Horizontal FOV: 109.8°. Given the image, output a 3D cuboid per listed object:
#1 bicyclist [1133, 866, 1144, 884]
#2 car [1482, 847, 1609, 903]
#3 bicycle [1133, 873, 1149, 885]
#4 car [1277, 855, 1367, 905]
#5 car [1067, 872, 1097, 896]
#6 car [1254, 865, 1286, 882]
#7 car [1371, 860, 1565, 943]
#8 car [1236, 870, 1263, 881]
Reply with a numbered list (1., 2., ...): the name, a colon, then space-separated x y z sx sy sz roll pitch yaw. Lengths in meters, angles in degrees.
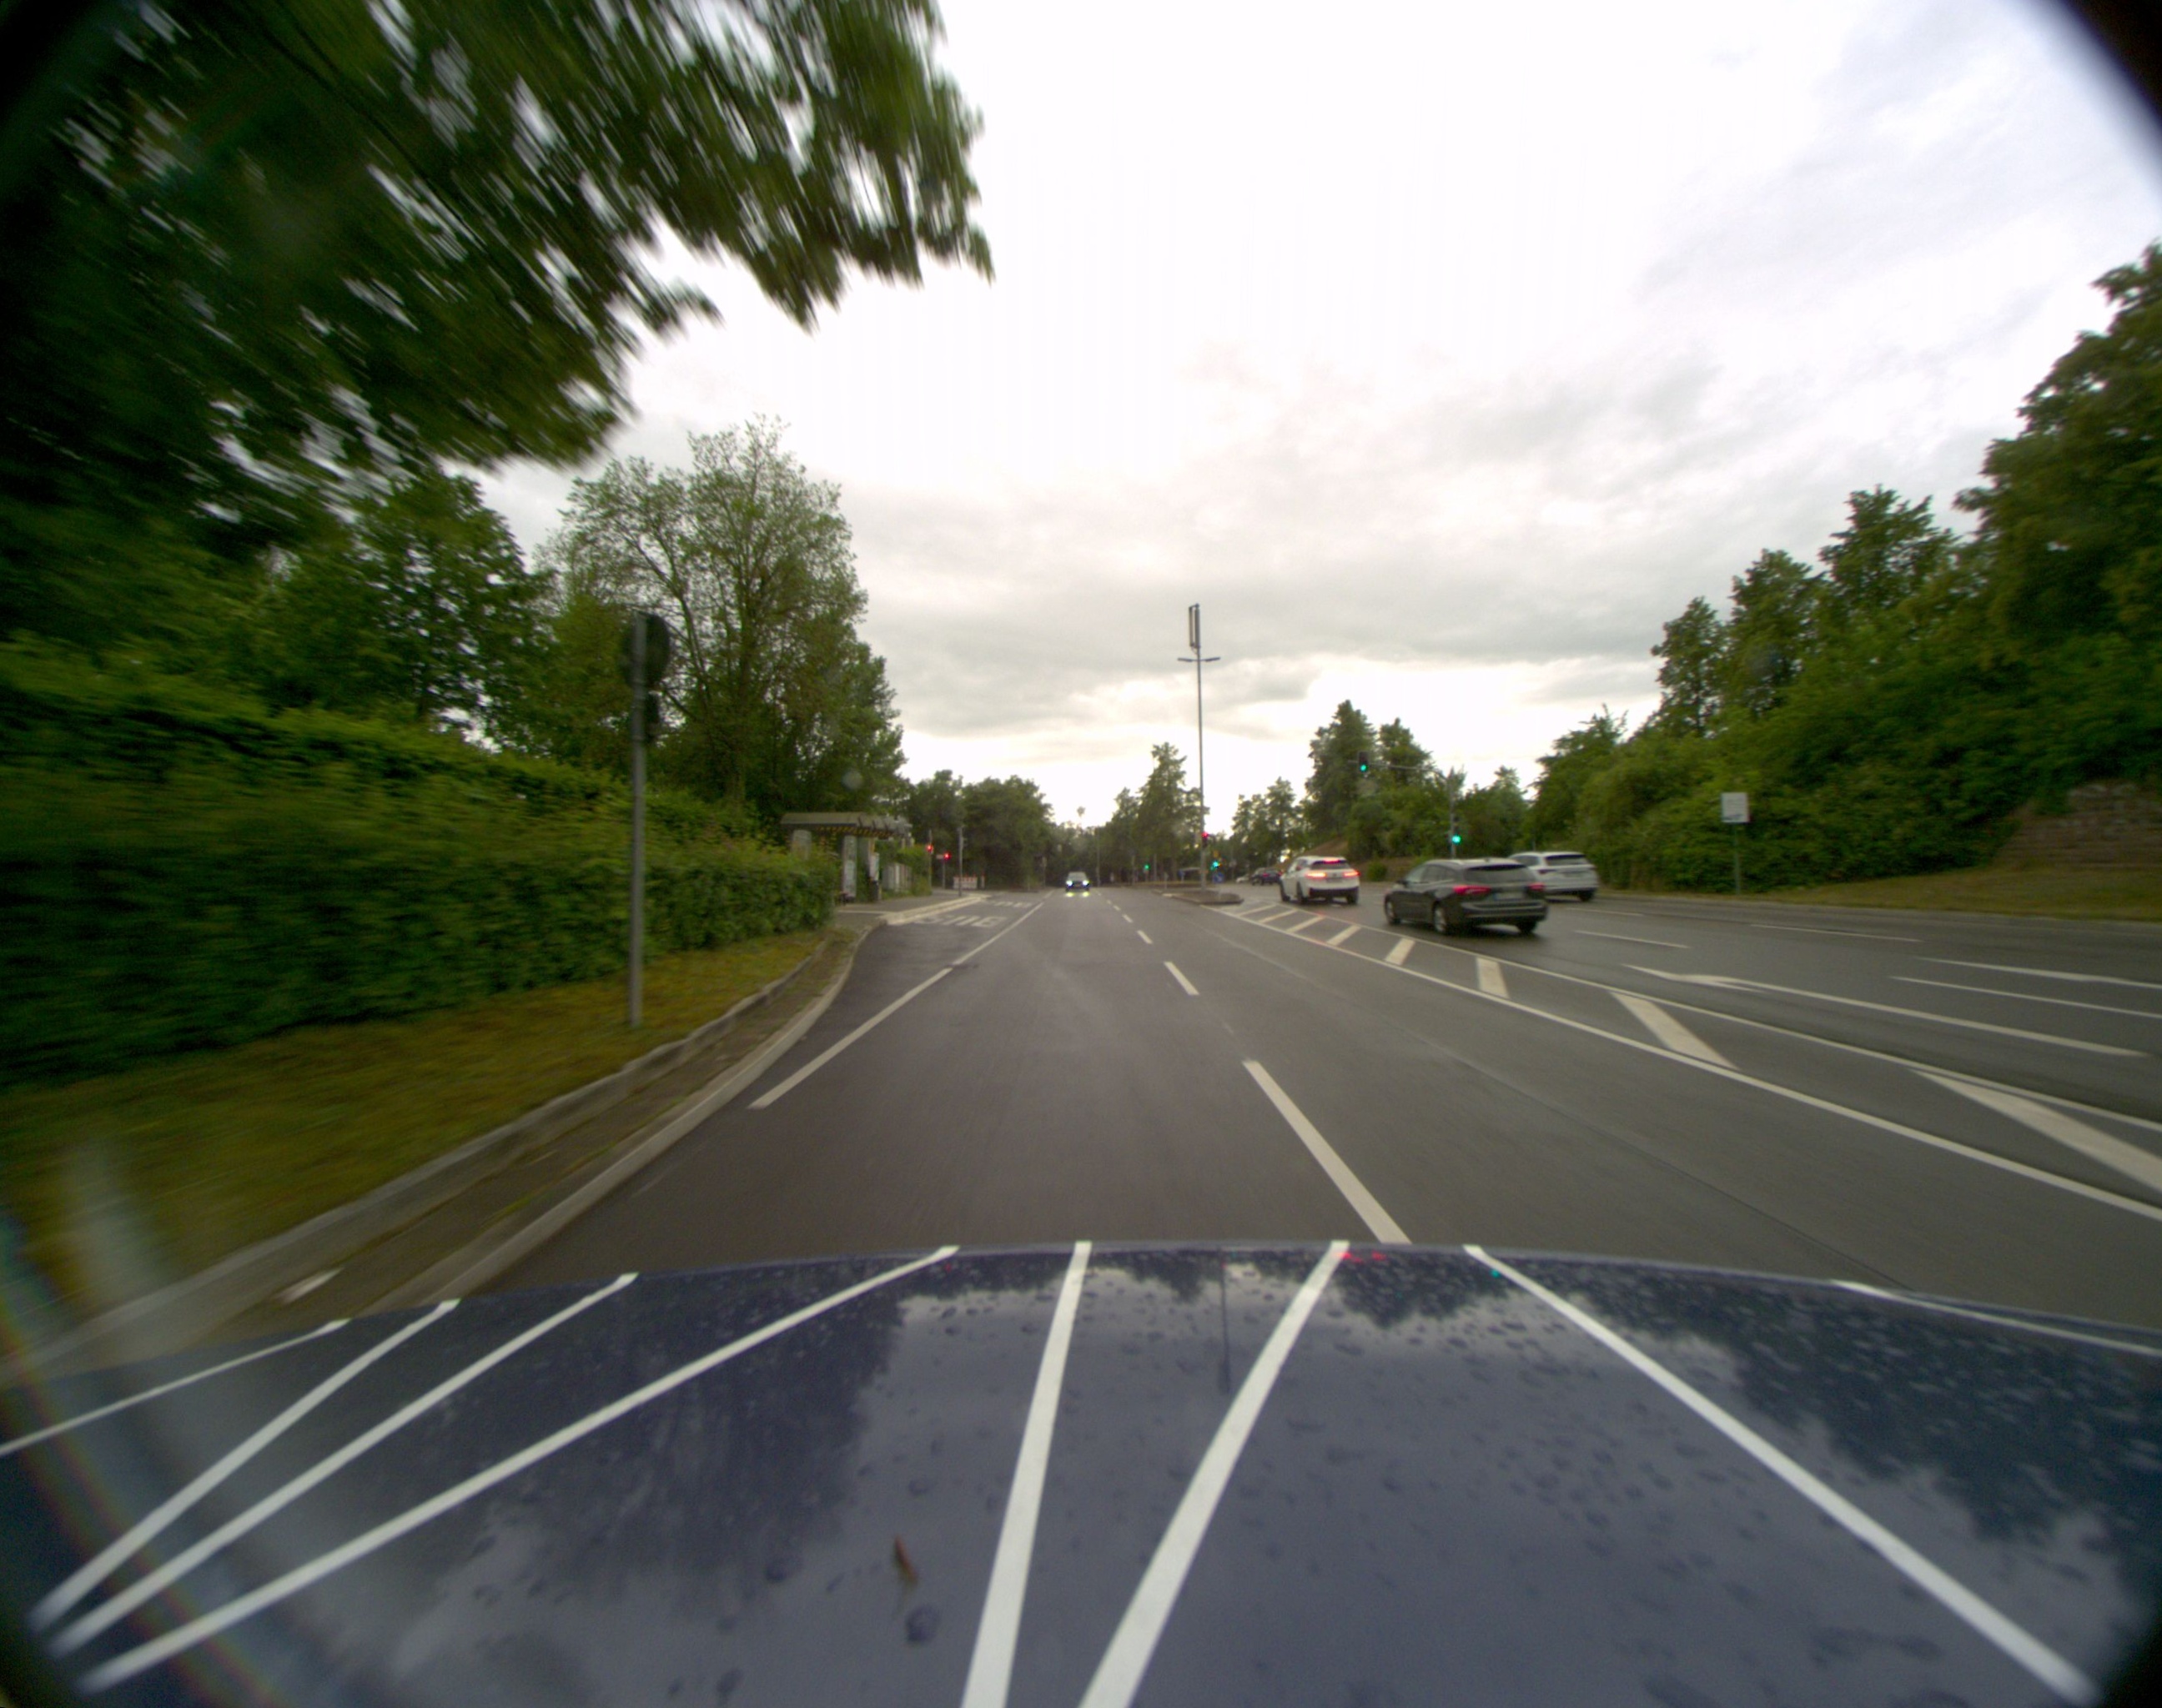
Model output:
1. bicyclist: 5.625 2.013 74.151 0.723 1.742 0.803 2 1 33
2. car: 14.792 0.637 24.486 1.728 1.581 4.001 -3 0 3
3. bicycle: 5.905 2.458 74.526 0.552 1.136 2.145 -1 -2 33
4. car: 8.678 0.871 27.852 1.949 1.626 5.007 -2 0 4
5. car: 0.112 2.337 58.007 1.998 1.575 4.004 2 -5 3
6. car: 15.897 1.620 64.051 1.824 1.429 4.456 -1 -1 3
7. car: 7.838 0.879 15.963 1.782 1.463 4.646 -1 -1 1
8. car: 23.897 3.089 107.713 3.692 1.469 1.763 -1 -2 9
